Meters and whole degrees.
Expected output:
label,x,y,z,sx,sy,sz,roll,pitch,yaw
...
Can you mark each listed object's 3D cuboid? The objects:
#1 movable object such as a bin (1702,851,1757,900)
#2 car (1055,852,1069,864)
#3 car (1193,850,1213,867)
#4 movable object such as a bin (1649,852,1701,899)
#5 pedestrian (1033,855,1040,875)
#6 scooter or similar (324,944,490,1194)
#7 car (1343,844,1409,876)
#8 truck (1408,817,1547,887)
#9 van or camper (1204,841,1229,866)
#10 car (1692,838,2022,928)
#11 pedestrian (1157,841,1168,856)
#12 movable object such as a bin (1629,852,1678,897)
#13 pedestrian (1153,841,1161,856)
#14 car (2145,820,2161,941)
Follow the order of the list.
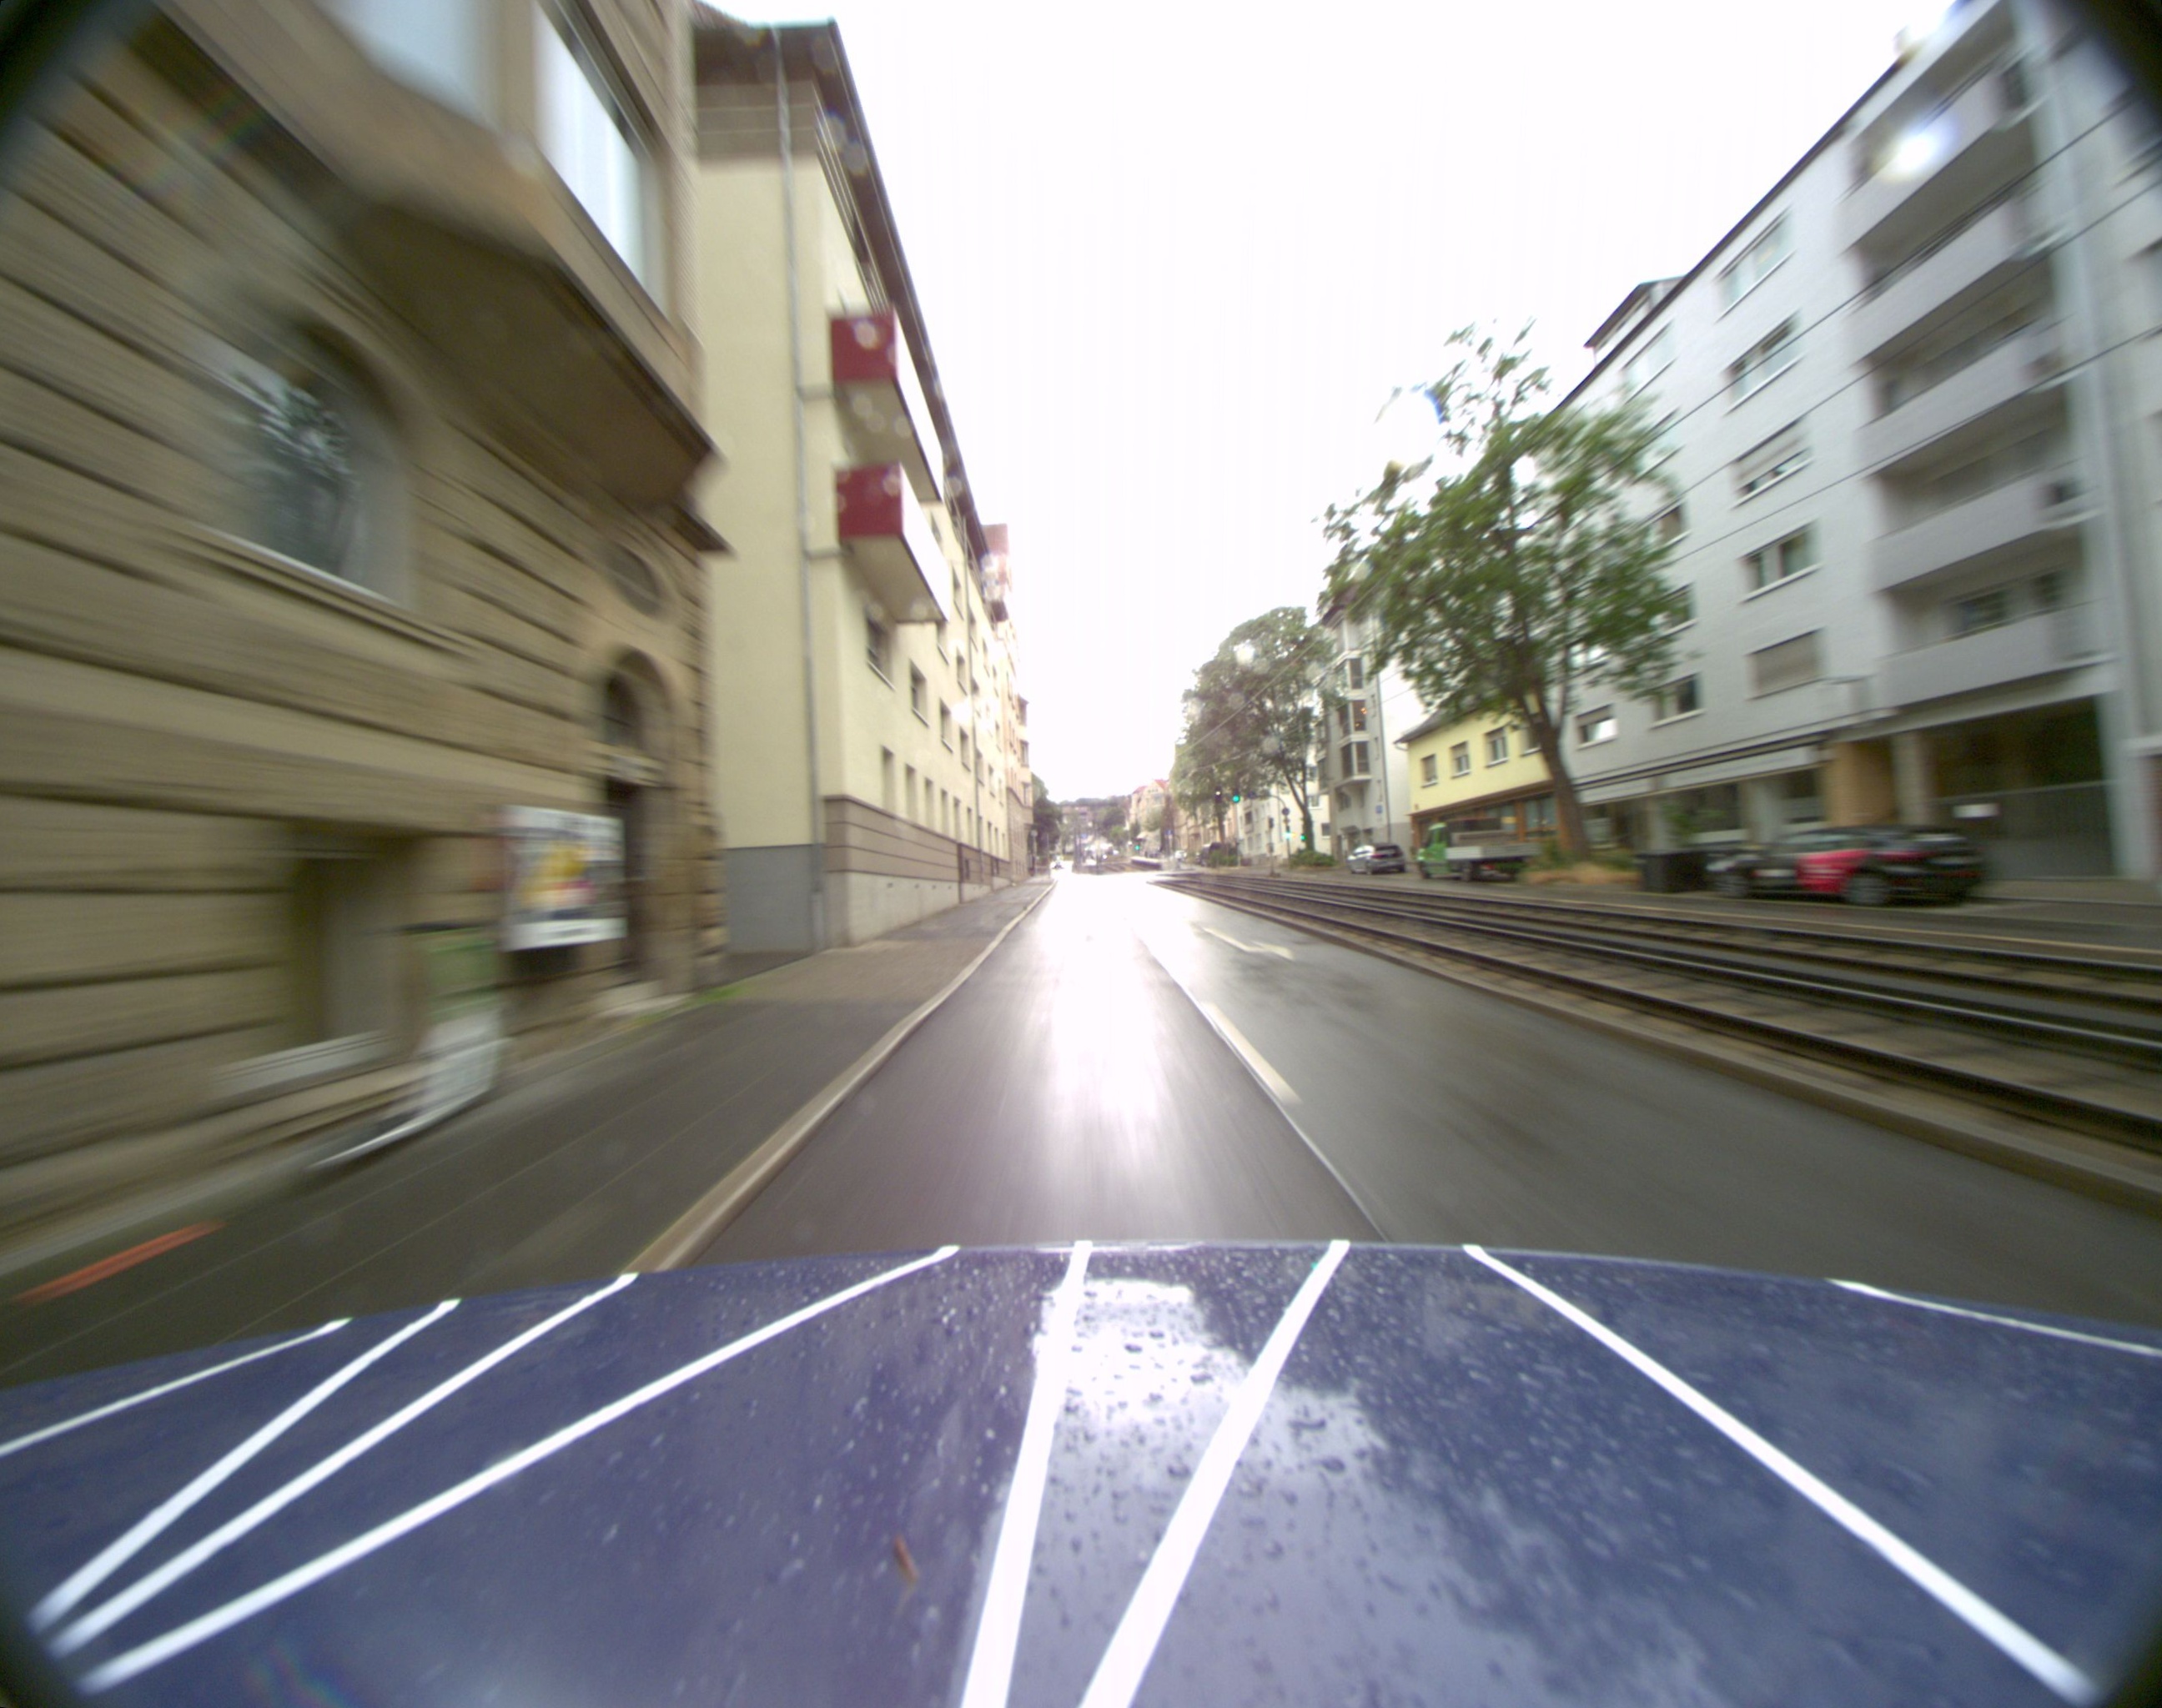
label,x,y,z,sx,sy,sz,roll,pitch,yaw
movable object such as a bin,15.315,0.494,17.955,0.727,1.115,0.671,-1,0,-5
car,-2.722,0.520,110.131,1.999,1.652,4.000,-2,0,-1
car,15.542,0.536,96.993,1.998,2.002,4.000,-2,0,2
movable object such as a bin,14.543,0.515,18.620,0.727,1.115,0.671,-1,0,-5
pedestrian,-4.133,1.027,70.939,0.547,1.904,0.604,-2,0,-3
scooter or similar,-3.645,1.107,4.167,0.210,1.105,0.890,-1,2,-9
car,15.179,0.282,39.347,1.709,1.451,4.360,-4,0,0
truck,14.962,-0.108,29.222,2.197,2.332,6.352,-2,1,2
van or camper,15.604,-0.049,87.630,1.998,2.782,5.212,-1,1,1
car,14.901,0.498,15.052,1.911,1.431,4.469,-2,0,-1
pedestrian,9.915,-0.685,92.530,1.120,1.772,0.965,-2,0,0
movable object such as a bin,14.553,0.512,19.323,0.727,1.115,0.671,-1,0,-5
pedestrian,9.811,-0.710,97.544,0.903,1.841,0.860,-2,0,1
car,14.807,0.304,7.846,1.781,1.560,4.158,-2,0,-1
